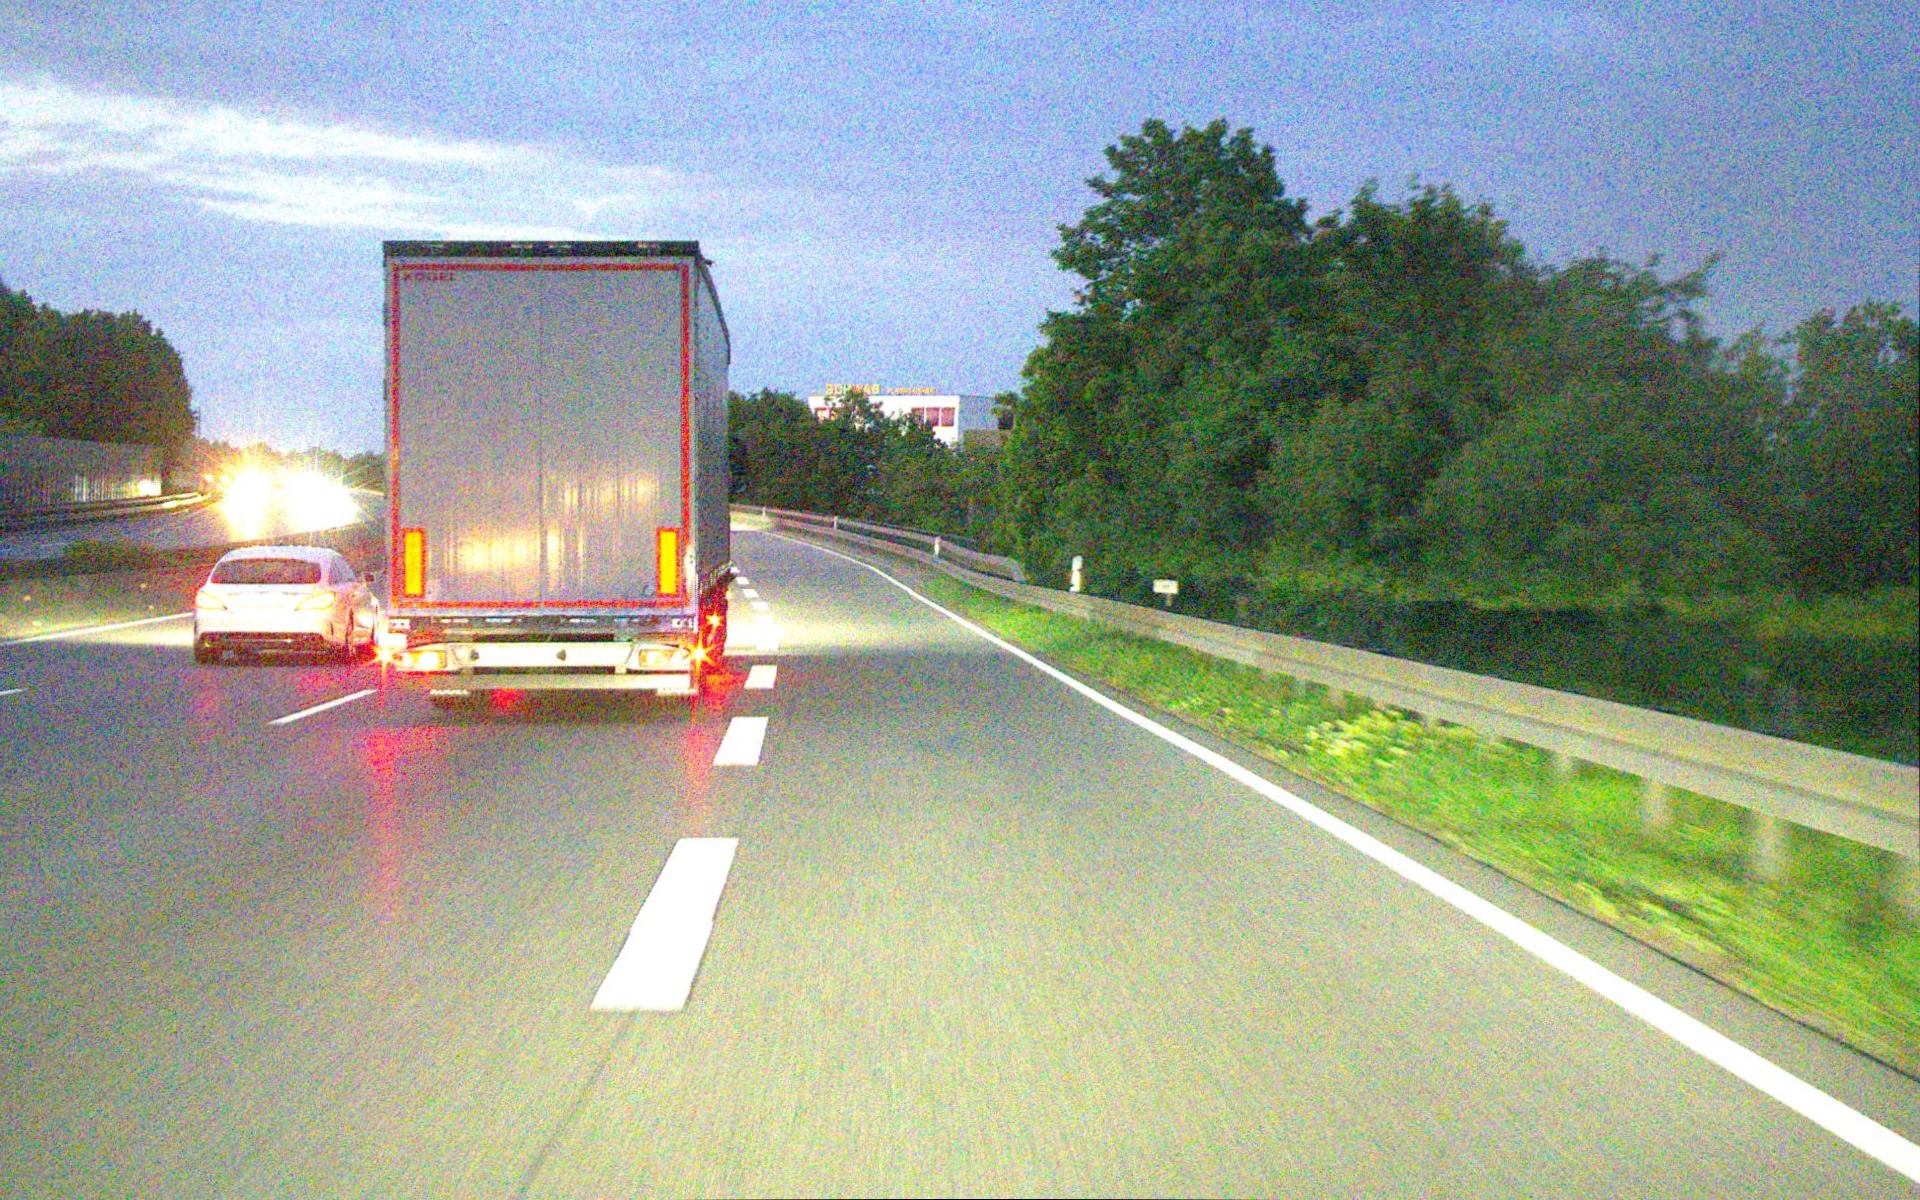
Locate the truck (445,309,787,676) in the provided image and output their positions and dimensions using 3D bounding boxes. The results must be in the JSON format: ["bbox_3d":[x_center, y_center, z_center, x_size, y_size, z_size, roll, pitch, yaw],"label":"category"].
[{"bbox_3d":[-3.988,-1.249,41.428,3.550,4.077,6.152,0,1,-1],"label":"truck"}]

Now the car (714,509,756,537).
[{"bbox_3d":[-12.127,-4.122,185.160,1.993,1.349,4.001,1,-1,-8],"label":"car"}]

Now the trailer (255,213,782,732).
[{"bbox_3d":[-3.884,-1.130,34.771,3.550,4.102,15.064,0,1,-1],"label":"trailer"}]

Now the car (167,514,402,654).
[{"bbox_3d":[-8.362,-0.158,42.963,1.906,1.609,4.803,1,-1,1],"label":"car"}]
